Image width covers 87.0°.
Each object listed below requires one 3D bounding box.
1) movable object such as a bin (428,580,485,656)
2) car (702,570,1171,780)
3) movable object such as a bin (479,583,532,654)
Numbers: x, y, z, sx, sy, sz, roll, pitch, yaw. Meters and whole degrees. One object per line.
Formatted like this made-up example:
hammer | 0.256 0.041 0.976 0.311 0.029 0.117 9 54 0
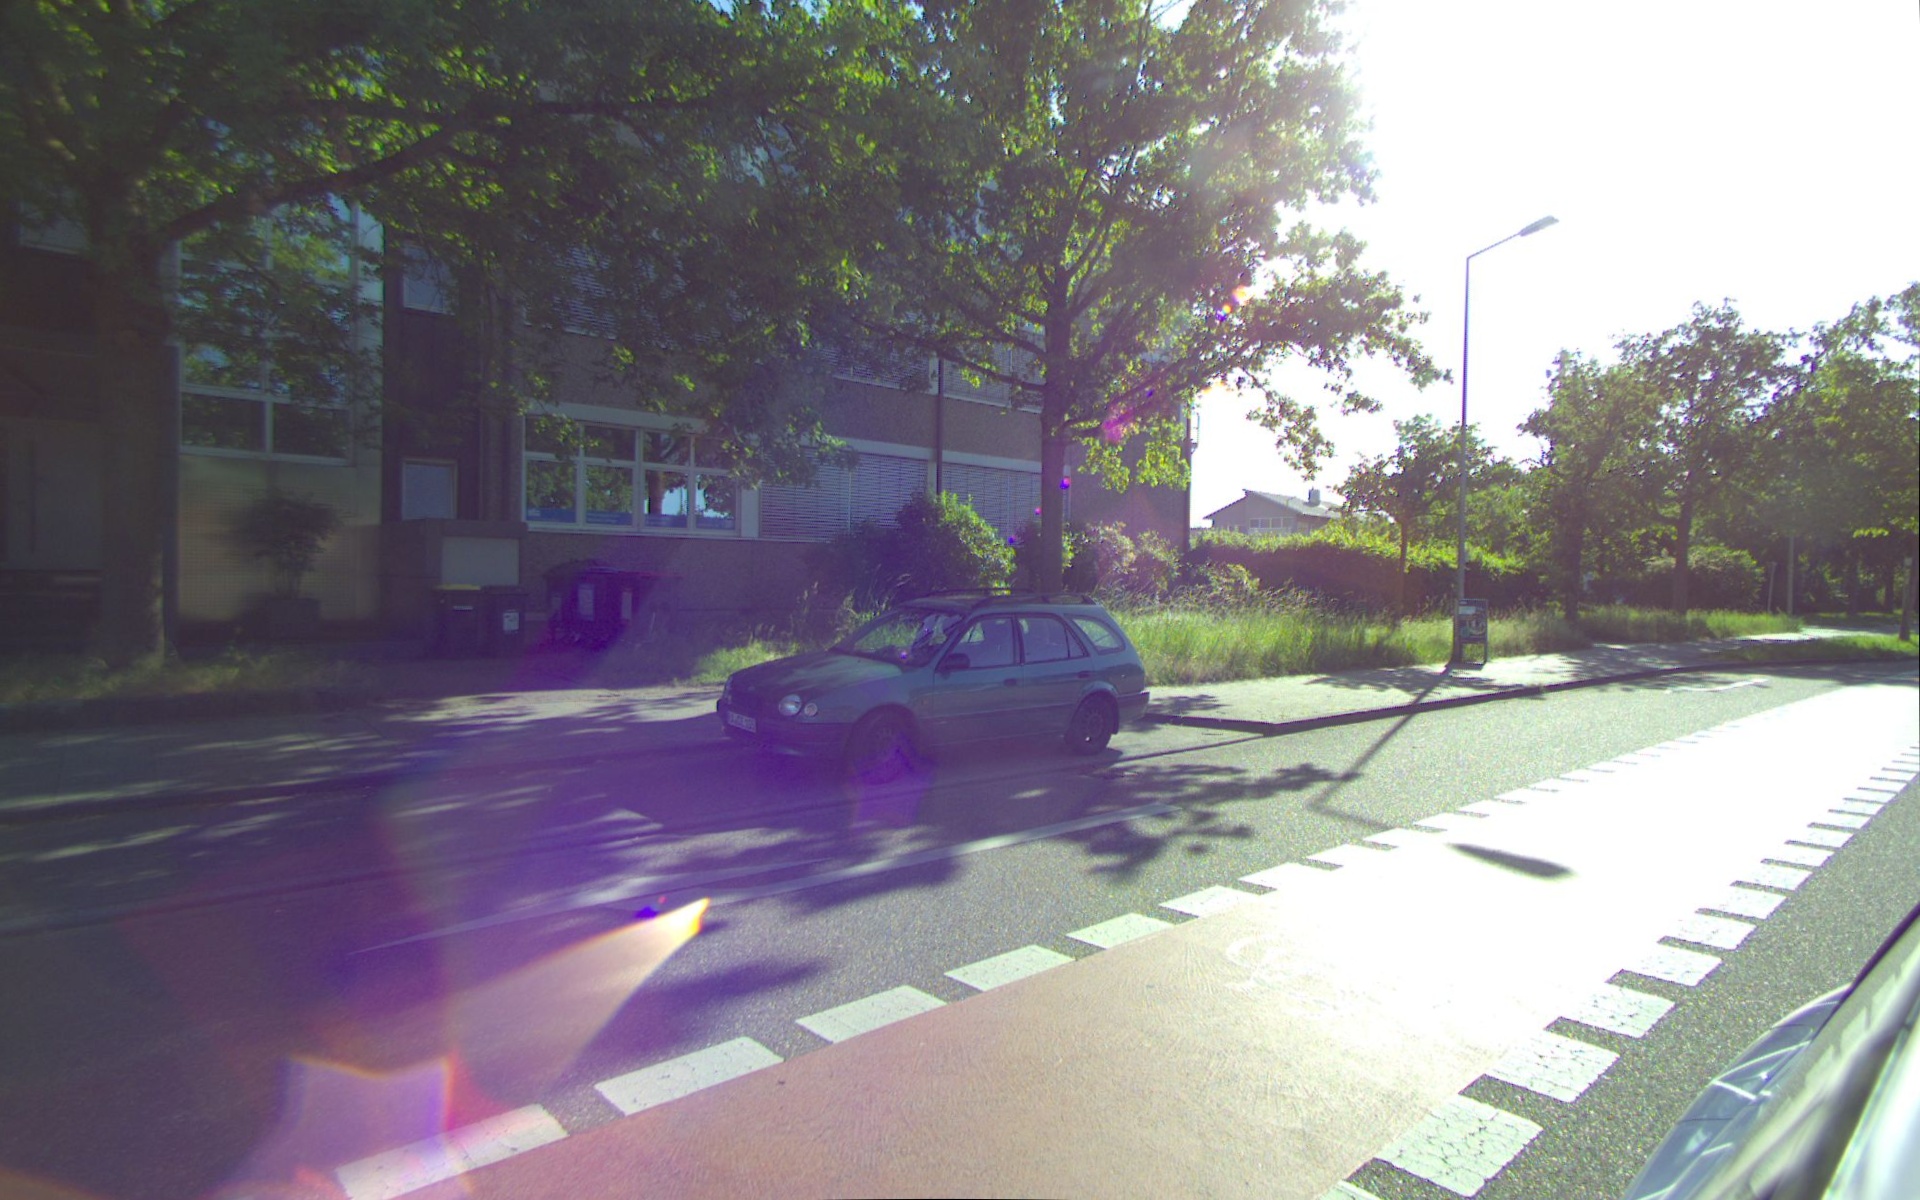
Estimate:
movable object such as a bin | -7.221 0.244 14.500 0.571 1.045 0.713 0 1 -41
car | -0.051 0.496 9.125 4.129 1.446 1.596 -1 3 -40
movable object such as a bin | -6.747 0.265 15.025 0.566 1.020 0.629 -1 1 -41
